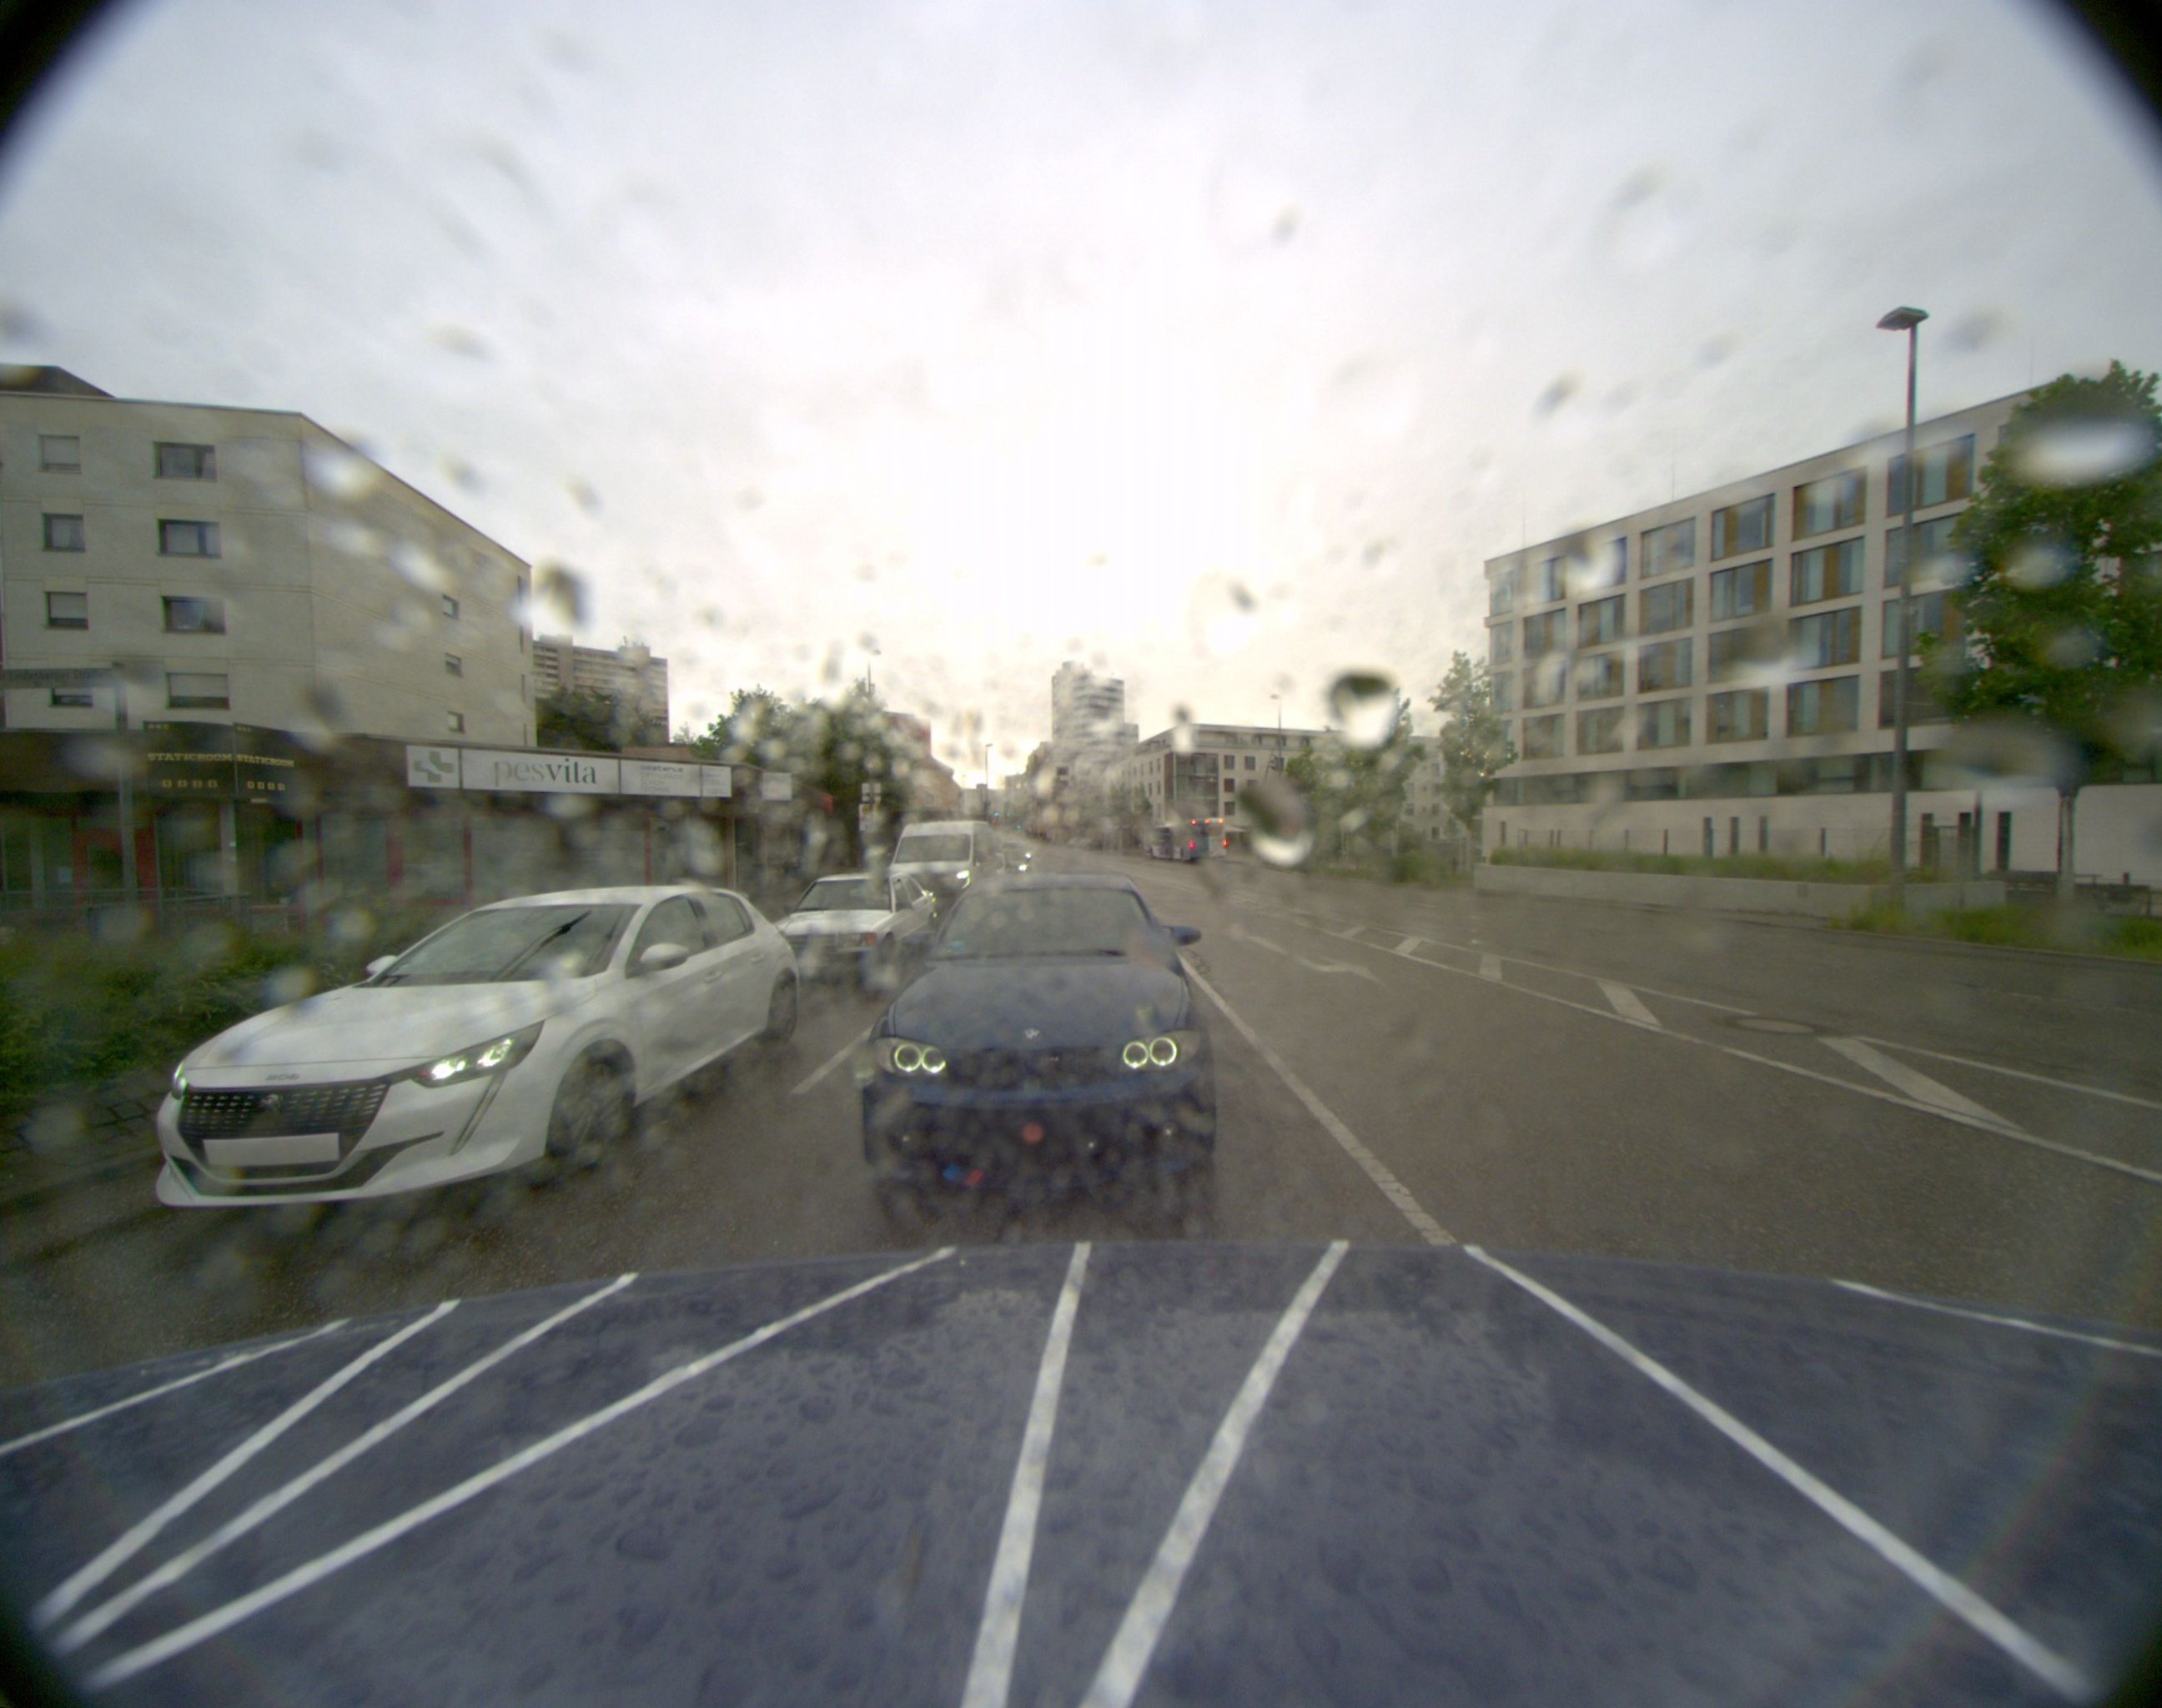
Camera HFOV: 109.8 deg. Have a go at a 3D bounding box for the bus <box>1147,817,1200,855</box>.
[{"bbox_3d":[7.988,-1.539,66.936,2.800,3.096,8.878,-1,1,-6],"label":"bus"}]

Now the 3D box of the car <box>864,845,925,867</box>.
[{"bbox_3d":[-12.982,0.114,53.060,4.000,1.419,1.882,-1,1,-10],"label":"car"}]

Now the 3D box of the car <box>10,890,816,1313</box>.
[{"bbox_3d":[-3.367,1.089,5.076,1.666,1.407,4.114,-2,1,1],"label":"car"}]

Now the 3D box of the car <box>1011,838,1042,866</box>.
[{"bbox_3d":[-4.135,-0.181,58.403,1.998,2.002,3.999,0,1,1],"label":"car"}]

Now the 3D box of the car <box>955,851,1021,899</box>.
[{"bbox_3d":[-3.340,0.722,28.018,1.803,1.530,3.999,-2,1,1],"label":"car"}]

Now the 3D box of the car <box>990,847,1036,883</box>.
[{"bbox_3d":[-3.317,0.486,37.846,1.999,1.559,3.998,-2,1,-1],"label":"car"}]

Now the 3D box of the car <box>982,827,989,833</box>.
[{"bbox_3d":[-26.699,-6.755,211.507,1.666,1.625,3.801,-2,1,-11],"label":"car"}]

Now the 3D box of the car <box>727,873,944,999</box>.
[{"bbox_3d":[-3.369,1.055,11.350,1.788,1.338,4.162,-2,1,1],"label":"car"}]

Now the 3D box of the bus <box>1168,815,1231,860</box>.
[{"bbox_3d":[8.840,-1.221,57.801,2.784,3.096,9.364,-1,1,-3],"label":"bus"}]

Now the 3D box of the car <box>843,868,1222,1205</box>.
[{"bbox_3d":[-0.261,0.870,5.483,1.693,1.380,3.999,-2,1,-1],"label":"car"}]

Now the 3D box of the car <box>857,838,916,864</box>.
[{"bbox_3d":[-14.129,-0.214,55.377,4.000,1.769,1.882,-1,1,-10],"label":"car"}]

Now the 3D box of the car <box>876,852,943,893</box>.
[{"bbox_3d":[-7.025,0.710,31.539,1.788,1.481,4.000,-2,1,1],"label":"car"}]

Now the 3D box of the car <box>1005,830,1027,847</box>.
[{"bbox_3d":[-6.977,-1.675,81.709,1.879,1.745,4.000,1,0,1],"label":"car"}]

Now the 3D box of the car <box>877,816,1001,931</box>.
[{"bbox_3d":[-3.471,0.369,19.907,2.197,2.503,6.120,-1,1,-2],"label":"car"}]
